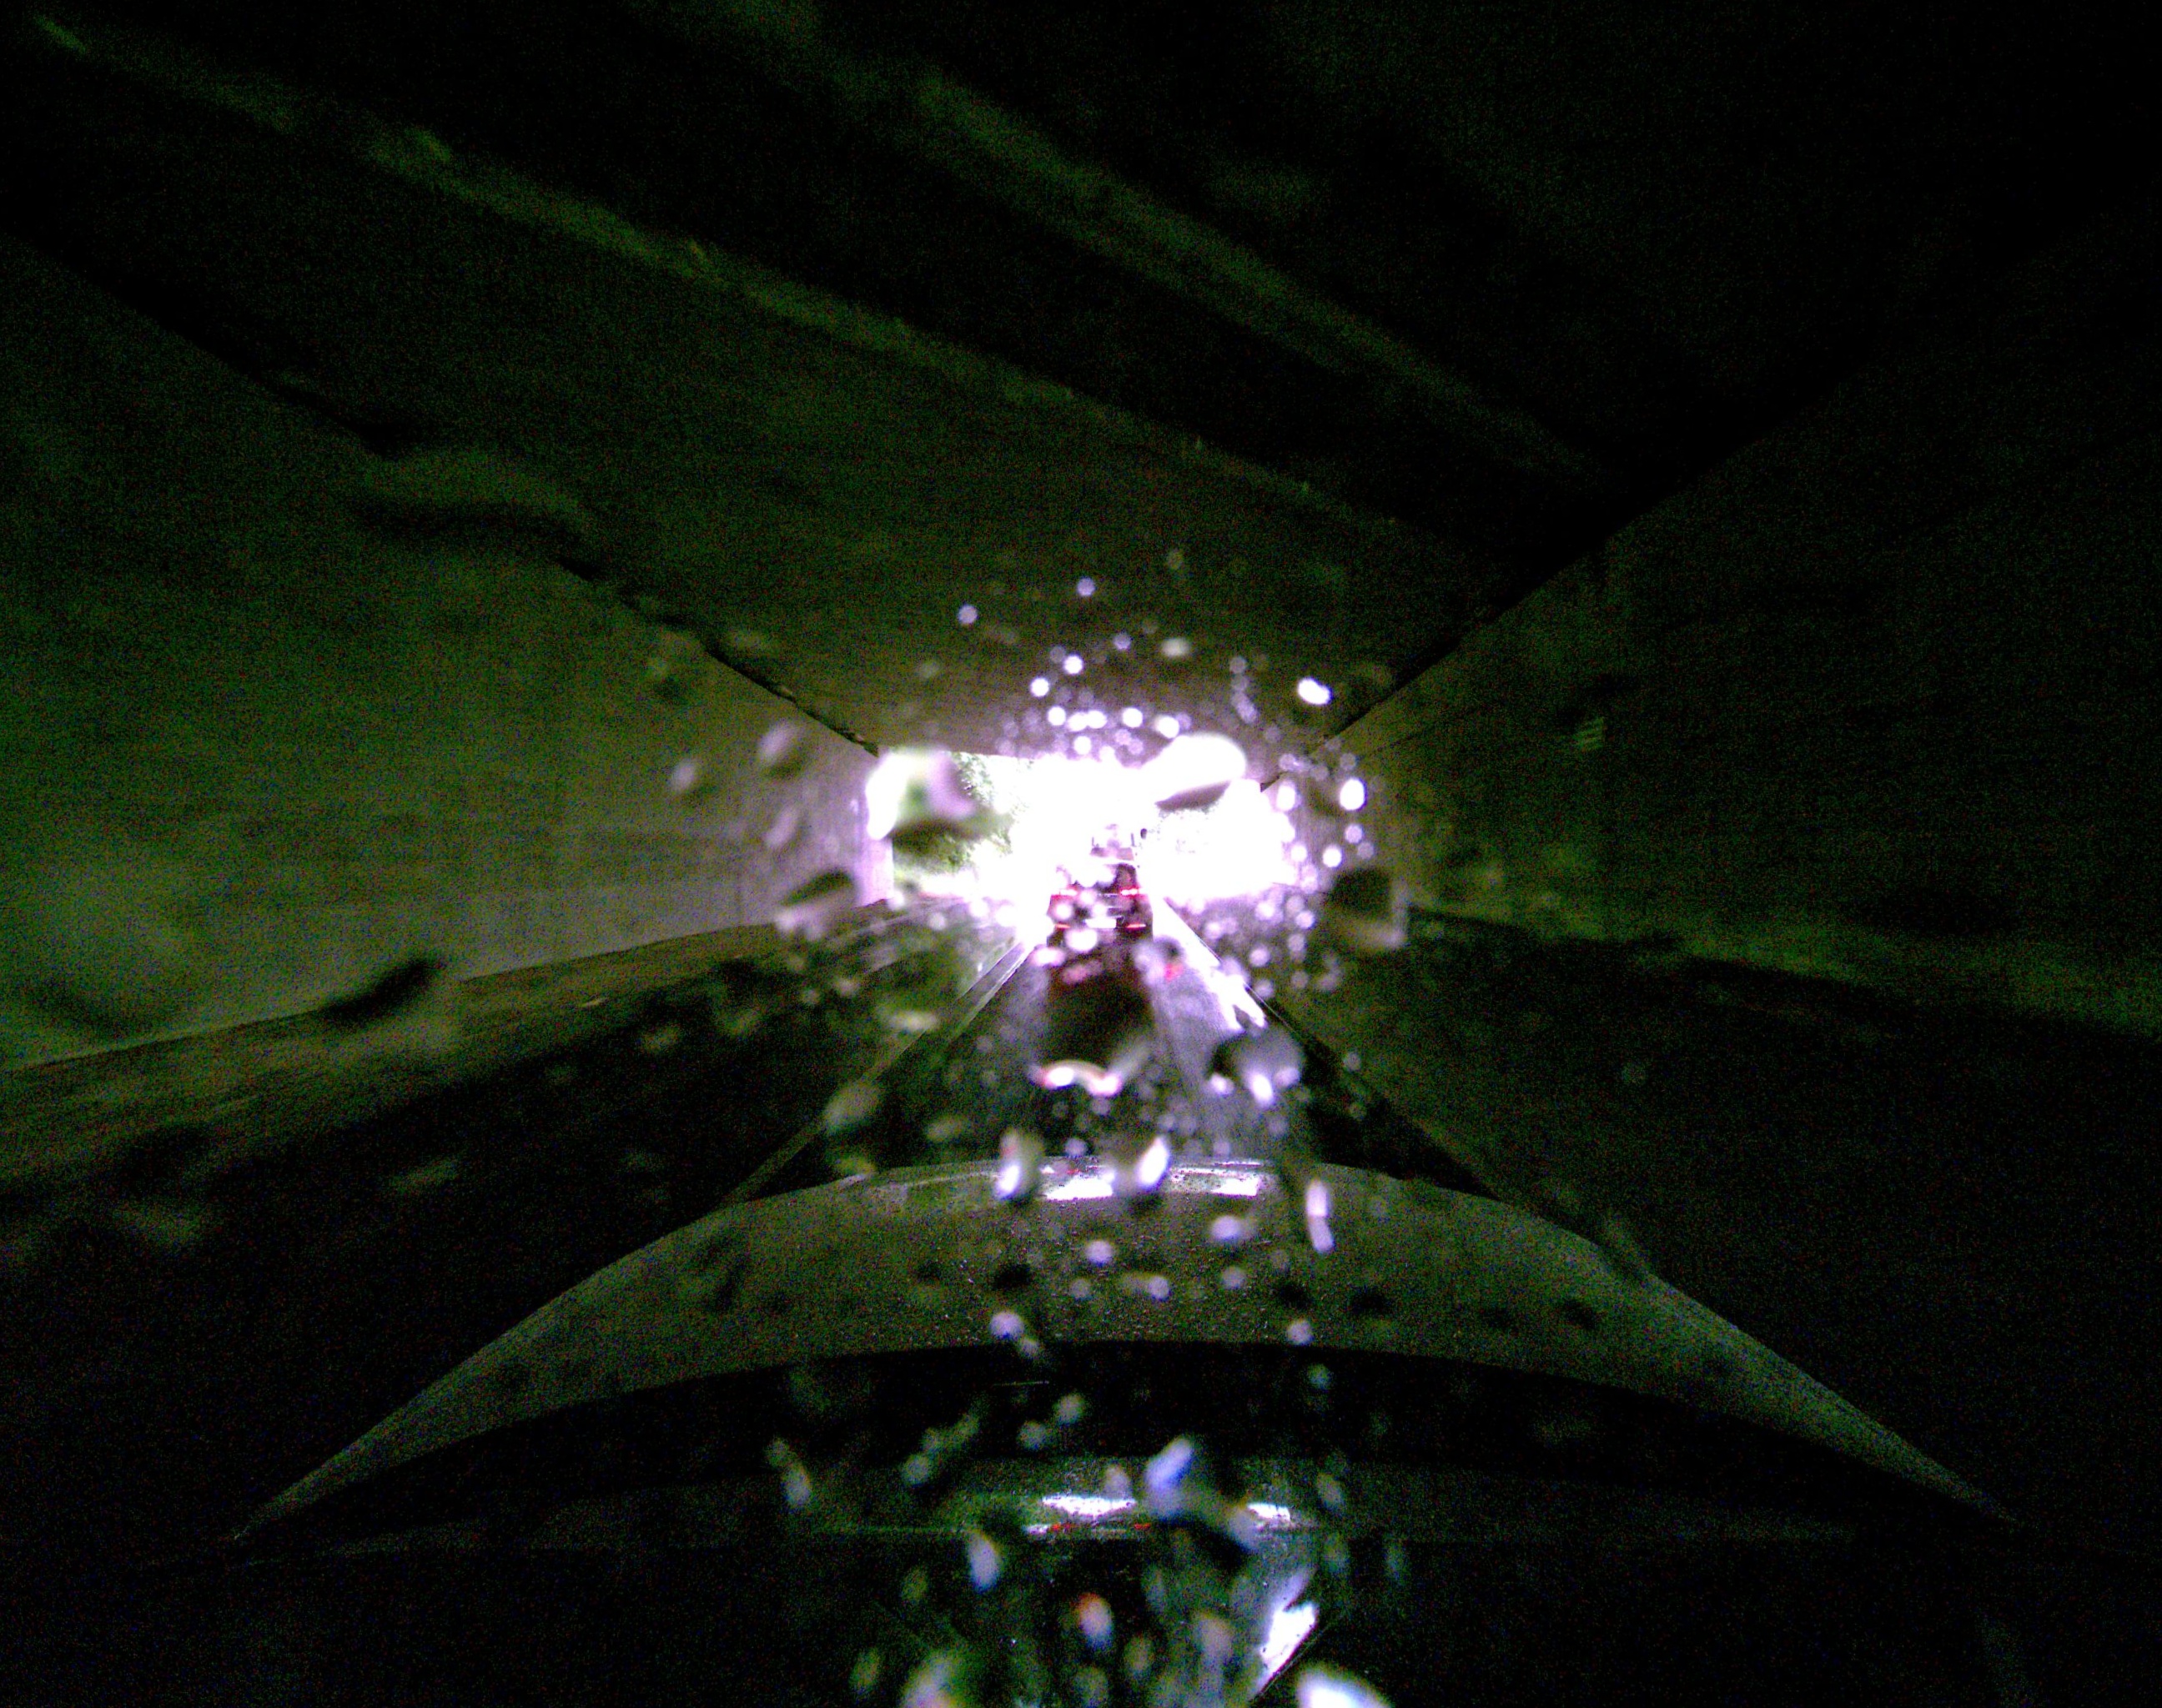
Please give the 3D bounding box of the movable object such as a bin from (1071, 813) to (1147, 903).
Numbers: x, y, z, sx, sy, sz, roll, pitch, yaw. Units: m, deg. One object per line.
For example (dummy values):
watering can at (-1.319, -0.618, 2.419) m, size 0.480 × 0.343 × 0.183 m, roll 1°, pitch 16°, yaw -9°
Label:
movable object such as a bin at (0.907, 0.113, 27.548) m, size 2.237 × 2.669 × 6.628 m, roll 0°, pitch 0°, yaw 1°

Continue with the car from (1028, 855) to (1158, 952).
car at (0.157, 0.759, 14.461) m, size 1.988 × 1.487 × 3.998 m, roll 0°, pitch 0°, yaw -1°

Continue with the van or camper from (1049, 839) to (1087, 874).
van or camper at (-0.762, 0.167, 50.985) m, size 1.985 × 2.098 × 4.695 m, roll 0°, pitch 0°, yaw 3°
